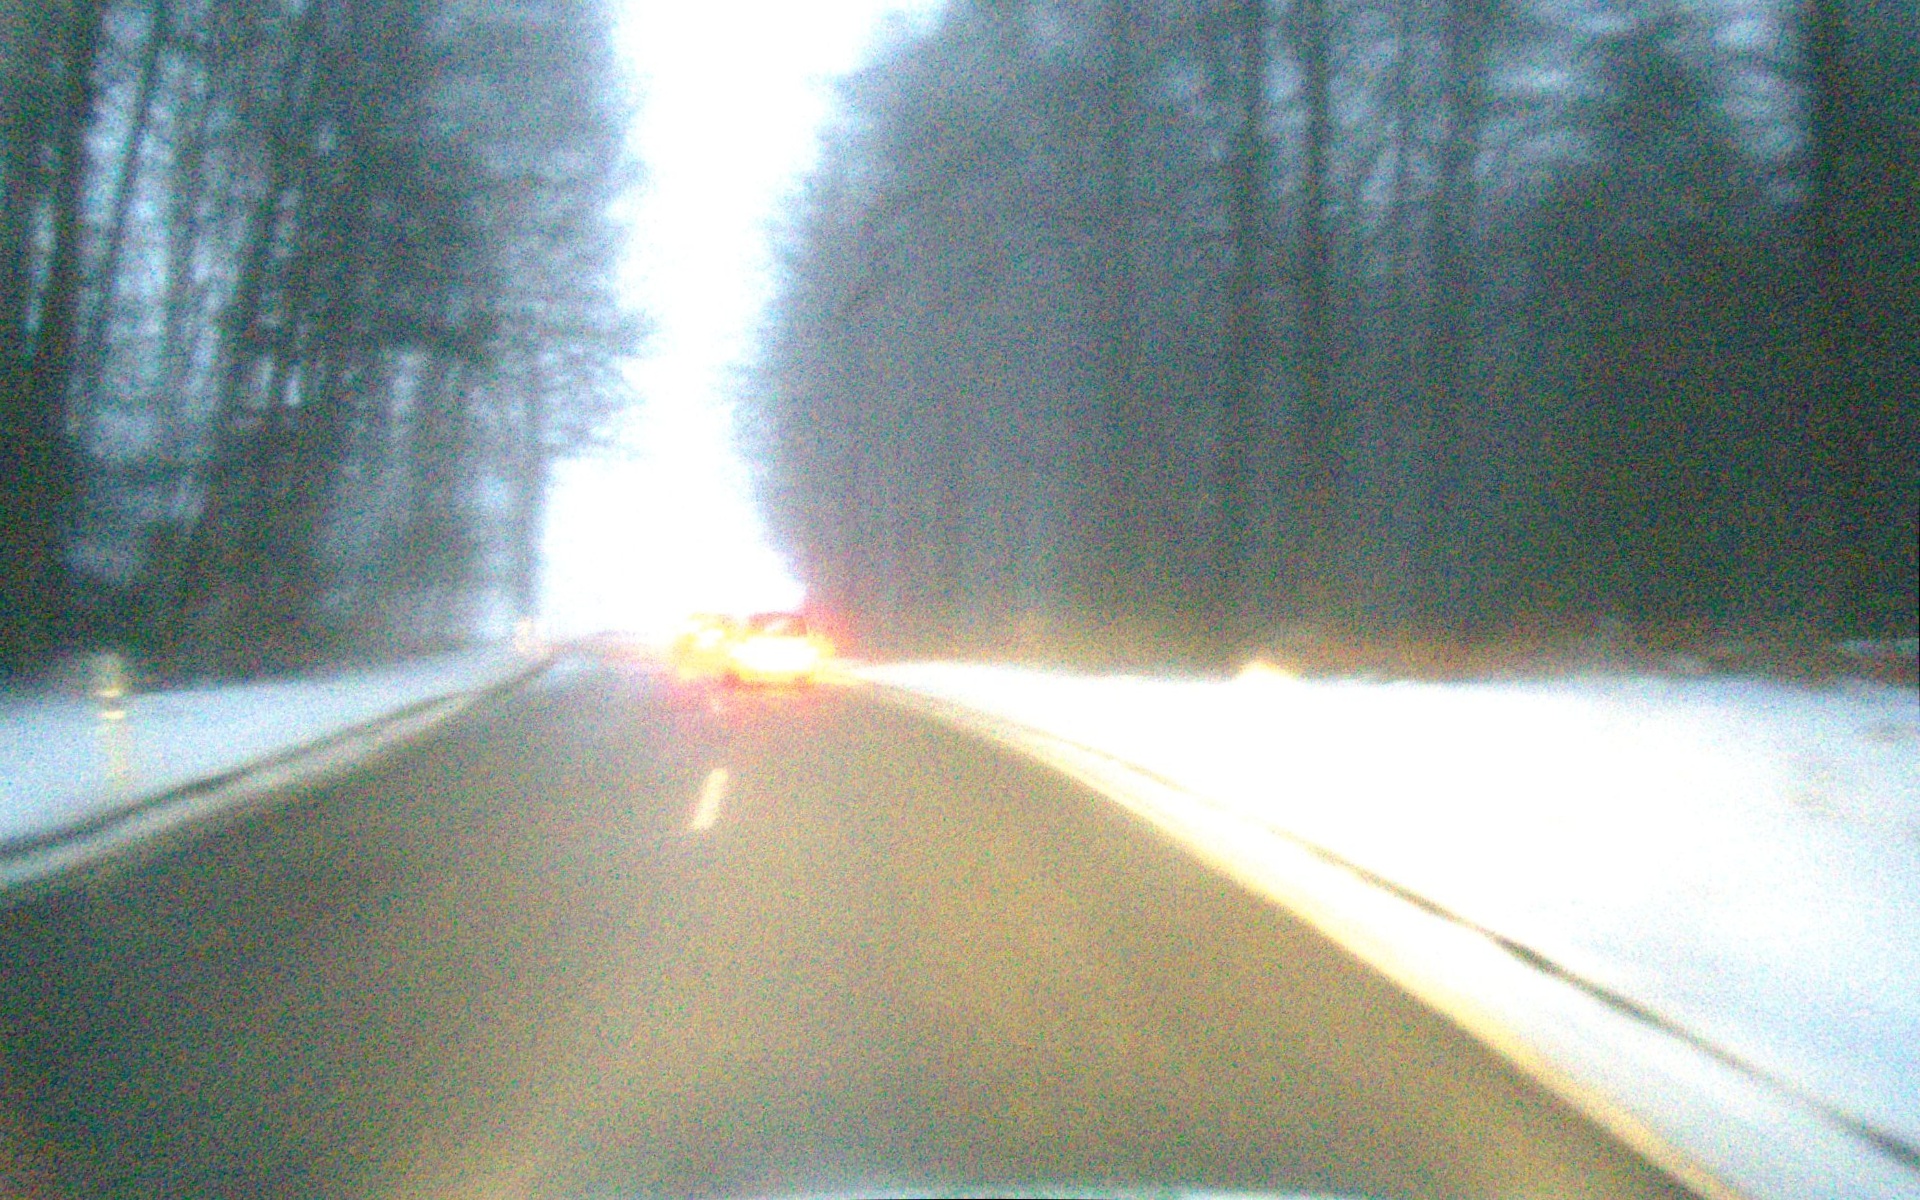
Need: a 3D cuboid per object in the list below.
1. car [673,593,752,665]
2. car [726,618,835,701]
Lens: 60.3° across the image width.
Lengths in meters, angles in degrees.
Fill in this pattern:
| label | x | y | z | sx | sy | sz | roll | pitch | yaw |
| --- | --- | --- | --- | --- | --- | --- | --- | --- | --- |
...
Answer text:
| label | x | y | z | sx | sy | sz | roll | pitch | yaw |
| --- | --- | --- | --- | --- | --- | --- | --- | --- | --- |
| car | -7.212 | 0.841 | 47.921 | 1.958 | 1.814 | 3.989 | 5 | -2 | -11 |
| car | -3.560 | 1.118 | 32.363 | 1.909 | 1.405 | 3.993 | 4 | -1 | -8 |
